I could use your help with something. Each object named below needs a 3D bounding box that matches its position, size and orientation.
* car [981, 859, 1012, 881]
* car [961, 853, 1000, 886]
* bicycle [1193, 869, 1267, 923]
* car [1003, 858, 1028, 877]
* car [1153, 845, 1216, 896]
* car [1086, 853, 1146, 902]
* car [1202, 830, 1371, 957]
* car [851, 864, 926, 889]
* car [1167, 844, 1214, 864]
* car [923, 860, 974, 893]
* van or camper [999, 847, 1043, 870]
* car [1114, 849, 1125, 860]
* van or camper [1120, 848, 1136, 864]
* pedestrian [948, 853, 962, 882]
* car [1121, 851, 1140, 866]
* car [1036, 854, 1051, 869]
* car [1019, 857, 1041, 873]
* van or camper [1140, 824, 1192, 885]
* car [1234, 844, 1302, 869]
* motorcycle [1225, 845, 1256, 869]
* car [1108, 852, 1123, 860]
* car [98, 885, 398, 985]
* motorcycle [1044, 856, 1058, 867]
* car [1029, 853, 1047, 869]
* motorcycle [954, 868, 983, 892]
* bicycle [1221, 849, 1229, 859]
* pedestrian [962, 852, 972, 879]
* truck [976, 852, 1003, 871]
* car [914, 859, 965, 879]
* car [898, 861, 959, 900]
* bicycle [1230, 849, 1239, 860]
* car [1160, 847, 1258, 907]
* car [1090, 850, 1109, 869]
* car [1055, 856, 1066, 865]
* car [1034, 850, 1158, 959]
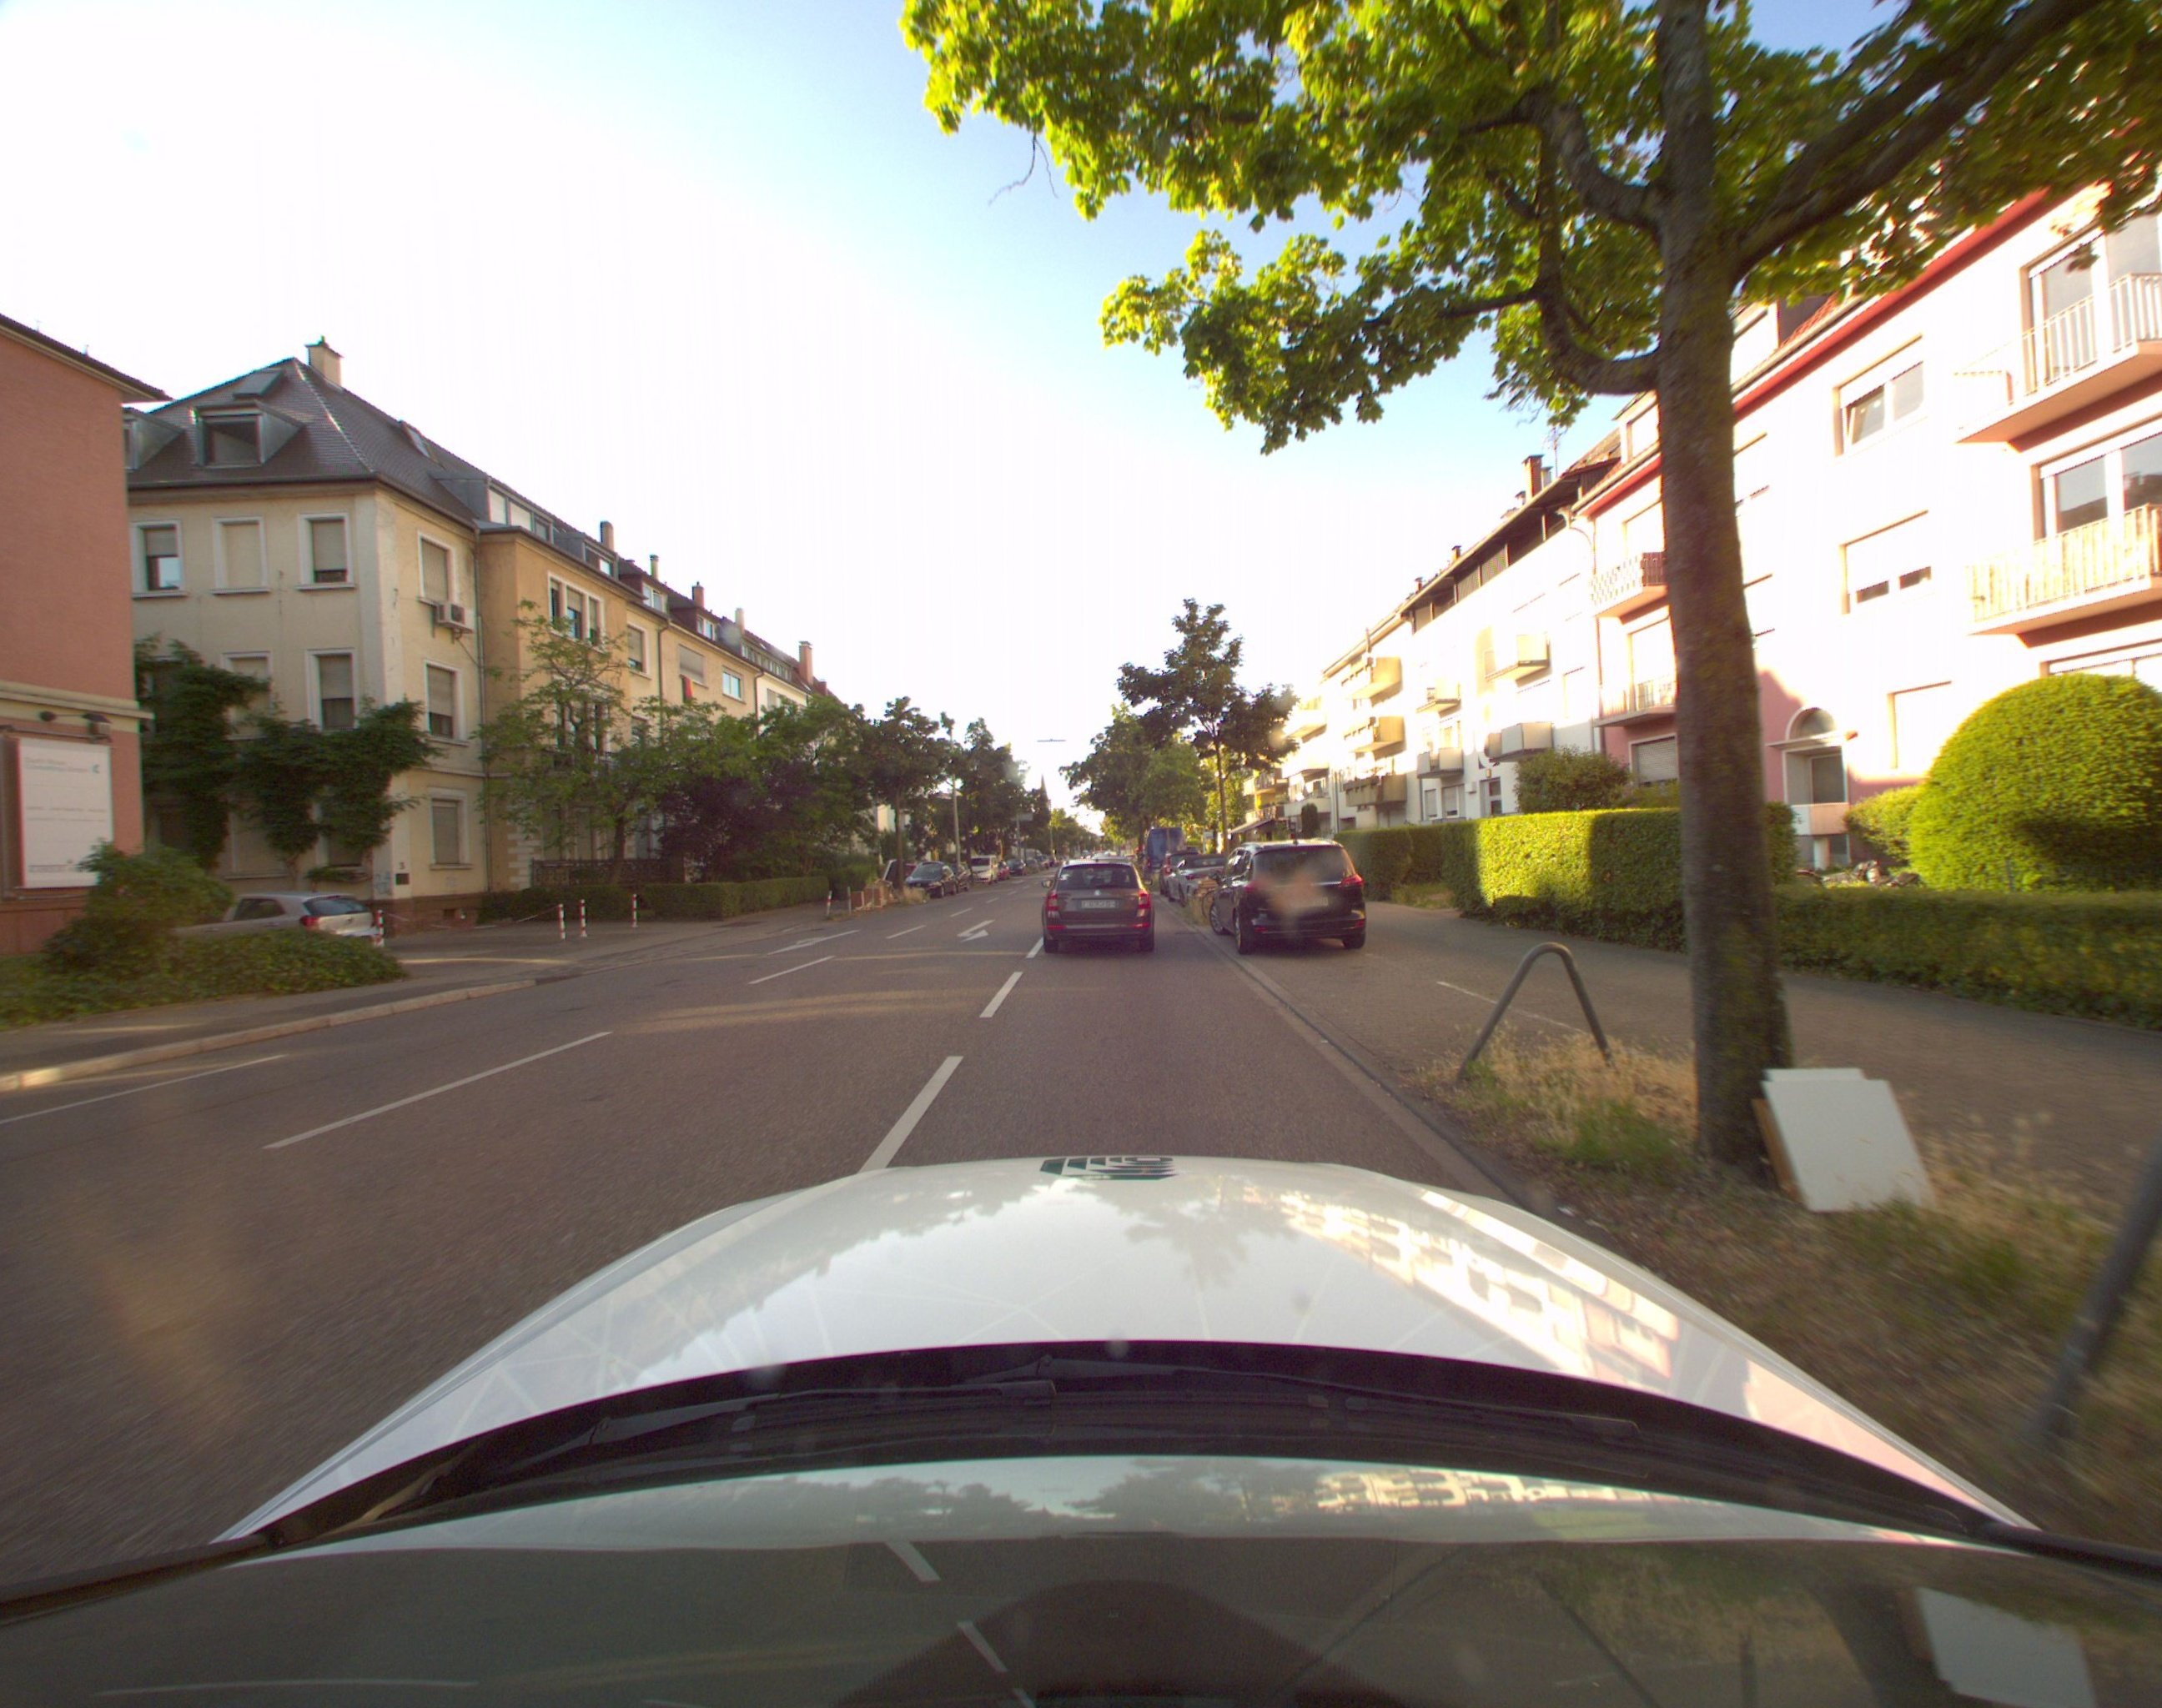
[{"bbox_3d":[-6.157,1.163,59.479,1.710,1.421,3.788,-2,0,2],"label":"car"},{"bbox_3d":[-6.399,0.944,52.227,1.763,1.919,4.462,-2,0,2],"label":"car"},{"bbox_3d":[3.182,0.887,17.400,1.478,1.059,0.410,-2,0,-12],"label":"bicycle"},{"bbox_3d":[-5.723,1.129,71.493,1.710,1.497,4.249,-2,0,2],"label":"car"},{"bbox_3d":[3.681,0.573,29.607,1.767,1.642,3.756,-2,-1,0],"label":"car"},{"bbox_3d":[1.153,0.752,28.453,1.725,1.493,3.948,-2,0,-2],"label":"car"},{"bbox_3d":[3.102,0.520,13.197,1.726,1.651,4.293,-2,0,2],"label":"car"},{"bbox_3d":[-12.775,1.482,54.271,4.713,1.362,1.992,-3,0,-12],"label":"car"},{"bbox_3d":[11.490,-0.001,85.697,4.557,1.892,1.898,-3,0,-26],"label":"car"},{"bbox_3d":[-6.715,1.101,41.629,1.744,1.502,3.980,-2,0,2],"label":"car"},{"bbox_3d":[-10.868,0.798,147.331,7.616,3.874,2.000,-2,0,-1],"label":"van or camper"},{"bbox_3d":[6.947,0.039,145.558,1.724,1.815,3.950,-2,0,0],"label":"car"},{"bbox_3d":[6.322,0.287,109.760,1.986,2.013,4.002,-2,0,2],"label":"van or camper"},{"bbox_3d":[-9.052,0.967,58.475,0.764,2.013,0.976,-2,0,1],"label":"pedestrian"},{"bbox_3d":[5.223,0.483,85.697,1.813,1.413,4.115,-2,0,4],"label":"car"},{"bbox_3d":[-4.611,0.918,100.657,1.501,1.757,3.695,-2,0,2],"label":"car"},{"bbox_3d":[-5.140,1.124,82.806,1.747,1.420,4.428,-2,0,2],"label":"car"},{"bbox_3d":[4.095,0.042,40.213,2.060,2.675,5.992,-2,-1,2],"label":"van or camper"},{"bbox_3d":[12.114,0.148,52.929,3.976,1.462,1.823,-2,0,-2],"label":"car"},{"bbox_3d":[11.688,0.208,59.782,2.182,1.621,0.733,-2,0,8],"label":"motorcycle"},{"bbox_3d":[7.968,0.382,189.451,1.859,1.757,4.204,-2,0,27],"label":"car"},{"bbox_3d":[-15.137,1.426,14.981,3.489,1.486,1.814,-2,0,-3],"label":"car"},{"bbox_3d":[-4.089,1.039,111.012,0.771,1.512,2.006,-3,0,-41],"label":"motorcycle"},{"bbox_3d":[-5.037,0.776,95.996,1.744,1.740,3.592,-2,0,2],"label":"car"},{"bbox_3d":[-6.250,1.427,45.170,0.436,1.192,1.718,-2,0,39],"label":"motorcycle"},{"bbox_3d":[13.342,0.028,75.353,0.341,0.950,1.580,0,0,-4],"label":"bicycle"},{"bbox_3d":[-8.794,0.887,62.921,0.624,2.013,0.616,-2,0,1],"label":"pedestrian"},{"bbox_3d":[-10.947,0.873,97.559,2.903,2.093,1.546,-2,0,1],"label":"truck"},{"bbox_3d":[-11.884,1.247,68.690,3.977,1.479,1.998,-1,0,-2],"label":"car"},{"bbox_3d":[-6.790,1.142,36.683,1.744,1.502,4.198,-2,0,2],"label":"car"},{"bbox_3d":[14.062,0.066,74.748,0.341,0.950,1.580,-5,0,-4],"label":"bicycle"},{"bbox_3d":[3.597,0.592,23.749,1.915,1.486,4.743,-2,0,-2],"label":"car"},{"bbox_3d":[1.766,0.495,76.351,1.726,1.651,3.543,-2,0,2],"label":"car"},{"bbox_3d":[-3.425,1.113,137.734,1.658,1.432,3.276,-2,0,1],"label":"car"},{"bbox_3d":[0.325,0.717,13.673,1.722,1.493,3.954,-2,0,3],"label":"car"}]
